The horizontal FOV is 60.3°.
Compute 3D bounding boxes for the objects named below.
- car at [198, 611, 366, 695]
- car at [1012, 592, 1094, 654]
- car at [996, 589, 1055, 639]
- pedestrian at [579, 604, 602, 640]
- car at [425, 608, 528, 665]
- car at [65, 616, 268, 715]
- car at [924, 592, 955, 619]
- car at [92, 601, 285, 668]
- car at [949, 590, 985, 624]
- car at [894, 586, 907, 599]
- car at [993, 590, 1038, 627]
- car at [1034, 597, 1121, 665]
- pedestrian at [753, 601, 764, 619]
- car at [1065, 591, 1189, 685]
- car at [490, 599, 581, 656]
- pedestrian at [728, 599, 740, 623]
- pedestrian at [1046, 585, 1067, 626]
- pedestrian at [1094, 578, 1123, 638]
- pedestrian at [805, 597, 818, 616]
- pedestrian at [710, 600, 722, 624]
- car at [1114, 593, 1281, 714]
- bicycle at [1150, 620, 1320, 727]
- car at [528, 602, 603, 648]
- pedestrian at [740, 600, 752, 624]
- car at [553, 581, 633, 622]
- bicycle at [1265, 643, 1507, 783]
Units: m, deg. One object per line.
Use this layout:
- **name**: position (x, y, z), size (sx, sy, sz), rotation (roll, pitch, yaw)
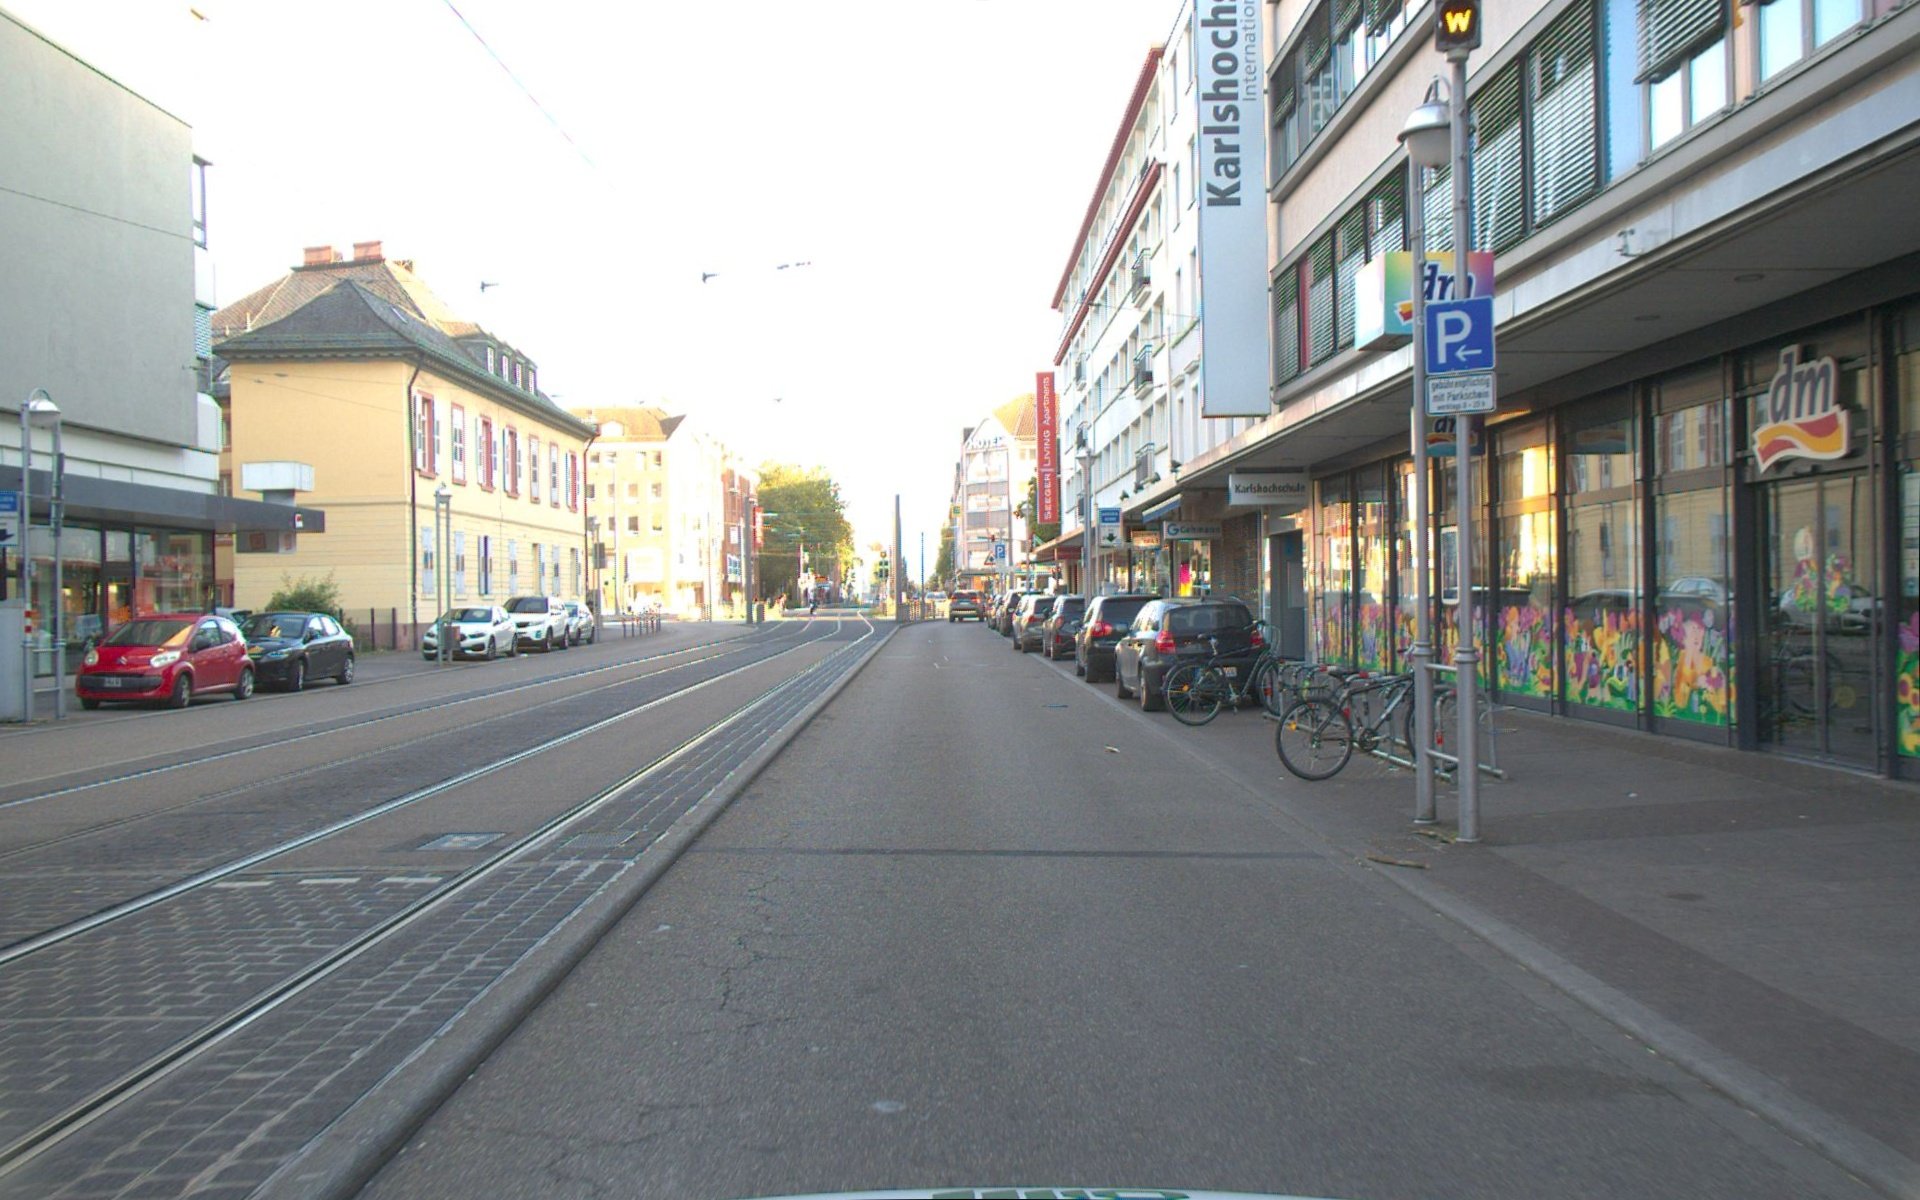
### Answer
- **car**: position (-13.075, 0.981, 32.146), size (1.657, 1.450, 3.964), rotation (1, 0, -1)
- **car**: position (2.458, 0.611, 44.661), size (1.755, 1.560, 4.855), rotation (1, 0, -2)
- **car**: position (2.335, 0.497, 59.606), size (1.818, 1.730, 4.416), rotation (1, 0, -1)
- **pedestrian**: position (-16.263, 0.951, 72.866), size (0.783, 1.569, 0.877), rotation (1, -1, 1)
- **car**: position (-13.467, 0.983, 46.273), size (1.686, 1.478, 4.282), rotation (1, 0, -2)
- **car**: position (-12.950, 1.021, 27.224), size (1.657, 1.459, 3.591), rotation (-1, 0, -1)
- **car**: position (-1.423, 0.379, 114.735), size (1.954, 1.623, 3.999), rotation (-5, -2, -1)
- **car**: position (-19.314, 0.850, 41.553), size (3.907, 1.580, 1.913), rotation (1, -1, -3)
- **car**: position (0.360, 0.373, 88.144), size (1.798, 1.665, 4.090), rotation (-2, -1, 0)
- **car**: position (-9.444, -1.195, 261.759), size (1.953, 1.934, 4.000), rotation (1, 0, 0)
- **car**: position (2.223, 0.345, 66.919), size (1.617, 1.445, 4.190), rotation (1, 0, -1)
- **car**: position (2.715, 0.707, 39.080), size (1.691, 1.507, 3.999), rotation (1, 0, -1)
- **pedestrian**: position (-22.941, 1.181, 188.439), size (1.071, 2.049, 1.162), rotation (1, -1, -4)
- **car**: position (2.905, 0.647, 29.554), size (1.729, 1.540, 4.071), rotation (1, 0, -1)
- **car**: position (-13.336, 0.818, 52.191), size (1.849, 1.690, 4.758), rotation (1, 0, -3)
- **pedestrian**: position (-13.561, 0.660, 99.155), size (0.650, 1.399, 0.651), rotation (0, 0, -4)
- **pedestrian**: position (3.797, 0.221, 65.357), size (0.718, 1.601, 0.966), rotation (-1, 0, -2)
- **pedestrian**: position (4.813, 0.247, 53.647), size (0.759, 1.913, 0.934), rotation (-1, -1, -3)
- **pedestrian**: position (-10.880, 0.485, 121.028), size (0.885, 1.399, 0.853), rotation (-1, 0, -4)
- **pedestrian**: position (-14.599, 0.708, 98.929), size (0.650, 1.399, 0.651), rotation (-1, 0, -4)
- **car**: position (3.145, 0.677, 22.594), size (1.621, 1.488, 4.021), rotation (1, 0, -1)
- **bicycle**: position (3.167, 0.833, 19.133), size (1.803, 1.129, 0.641), rotation (-2, 0, -4)
- **car**: position (-13.775, 0.840, 57.970), size (1.713, 1.500, 3.999), rotation (1, 0, -1)
- **pedestrian**: position (-12.889, 0.709, 99.545), size (0.650, 1.399, 0.651), rotation (-1, 0, -4)
- **car**: position (-19.186, 0.075, 86.501), size (3.924, 2.049, 1.990), rotation (-1, 0, -18)
- **bicycle**: position (3.421, 0.896, 13.340), size (1.759, 0.989, 0.575), rotation (-3, 0, -4)
